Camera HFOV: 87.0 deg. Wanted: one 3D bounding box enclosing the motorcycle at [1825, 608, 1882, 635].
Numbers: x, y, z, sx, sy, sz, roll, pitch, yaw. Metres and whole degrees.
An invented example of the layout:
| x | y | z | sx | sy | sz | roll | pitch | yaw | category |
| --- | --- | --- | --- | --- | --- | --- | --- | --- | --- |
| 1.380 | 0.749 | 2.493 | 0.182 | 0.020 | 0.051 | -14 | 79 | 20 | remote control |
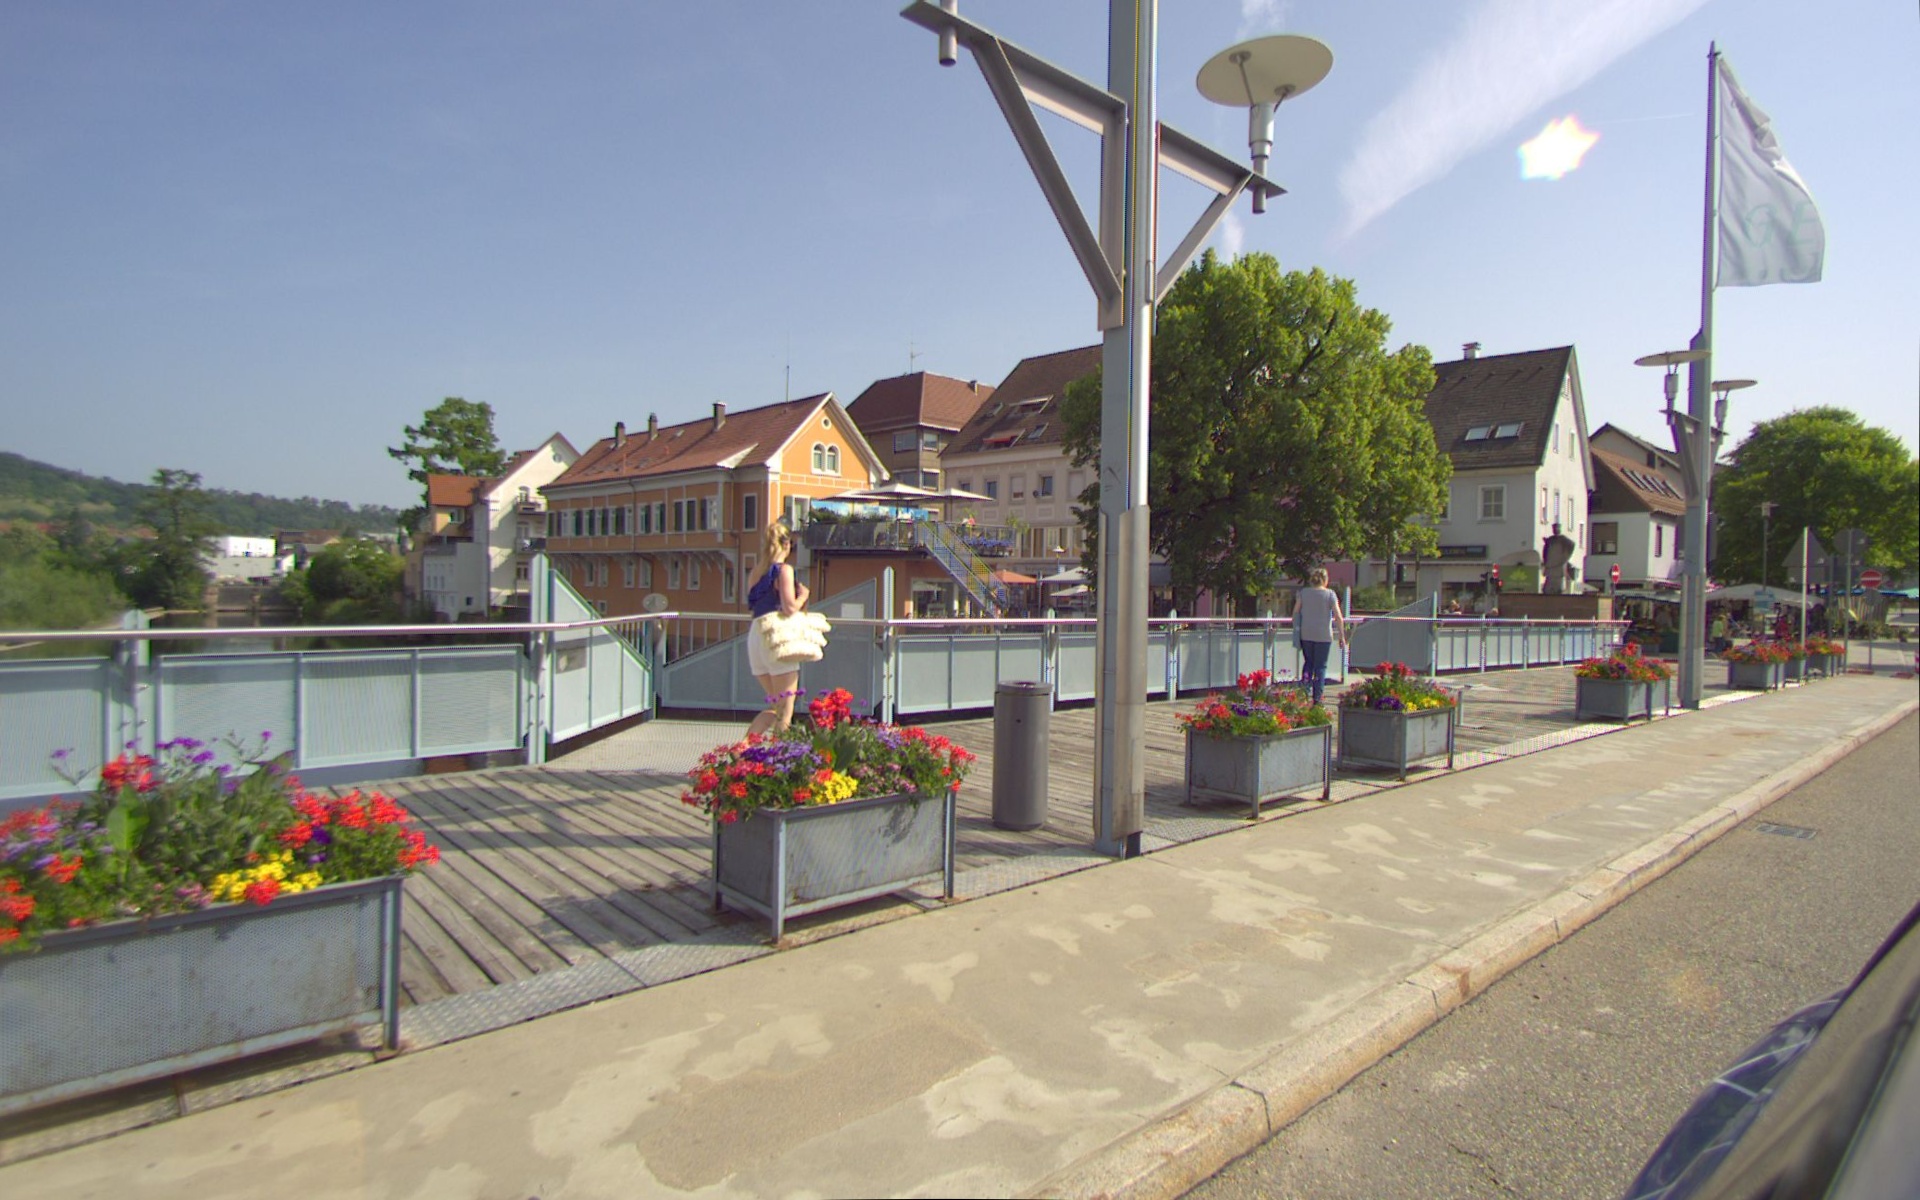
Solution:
| x | y | z | sx | sy | sz | roll | pitch | yaw | category |
| --- | --- | --- | --- | --- | --- | --- | --- | --- | --- |
| 45.142 | 1.067 | 51.141 | 0.630 | 1.210 | 2.009 | 1 | 3 | -29 | motorcycle |

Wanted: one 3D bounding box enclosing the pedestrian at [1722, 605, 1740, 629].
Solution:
| x | y | z | sx | sy | sz | roll | pitch | yaw | category |
| --- | --- | --- | --- | --- | --- | --- | --- | --- | --- |
| 40.607 | 0.870 | 53.290 | 0.640 | 1.215 | 0.571 | 0 | 4 | -42 | pedestrian |

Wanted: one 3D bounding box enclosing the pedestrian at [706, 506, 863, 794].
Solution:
| x | y | z | sx | sy | sz | roll | pitch | yaw | category |
| --- | --- | --- | --- | --- | --- | --- | --- | --- | --- |
| -1.156 | 0.301 | 6.657 | 0.734 | 1.745 | 0.727 | 1 | 0 | -39 | pedestrian |

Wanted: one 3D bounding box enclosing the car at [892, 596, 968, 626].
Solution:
| x | y | z | sx | sy | sz | roll | pitch | yaw | category |
| --- | --- | --- | --- | --- | --- | --- | --- | --- | --- |
| -1.759 | 0.613 | 58.234 | 4.580 | 1.617 | 1.723 | 1 | 1 | 45 | car |

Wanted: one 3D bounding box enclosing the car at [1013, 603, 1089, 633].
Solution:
| x | y | z | sx | sy | sz | roll | pitch | yaw | category |
| --- | --- | --- | --- | --- | --- | --- | --- | --- | --- |
| 4.951 | 0.958 | 55.425 | 1.707 | 1.466 | 3.989 | 1 | 1 | -45 | car |

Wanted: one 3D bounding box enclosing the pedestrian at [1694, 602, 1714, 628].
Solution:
| x | y | z | sx | sy | sz | roll | pitch | yaw | category |
| --- | --- | --- | --- | --- | --- | --- | --- | --- | --- |
| 39.355 | 0.793 | 53.513 | 0.687 | 1.347 | 0.626 | 0 | 3 | -40 | pedestrian |

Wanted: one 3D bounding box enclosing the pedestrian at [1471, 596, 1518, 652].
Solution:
| x | y | z | sx | sy | sz | roll | pitch | yaw | category |
| --- | --- | --- | --- | --- | --- | --- | --- | --- | --- |
| 18.183 | 0.804 | 34.424 | 0.888 | 1.838 | 1.023 | 3 | -1 | -12 | pedestrian |

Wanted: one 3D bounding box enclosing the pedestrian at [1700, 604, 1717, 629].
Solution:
| x | y | z | sx | sy | sz | roll | pitch | yaw | category |
| --- | --- | --- | --- | --- | --- | --- | --- | --- | --- |
| 38.549 | 0.849 | 52.122 | 0.640 | 1.215 | 0.571 | 0 | 4 | -42 | pedestrian |

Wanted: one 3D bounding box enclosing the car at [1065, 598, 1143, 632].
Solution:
| x | y | z | sx | sy | sz | roll | pitch | yaw | category |
| --- | --- | --- | --- | --- | --- | --- | --- | --- | --- |
| 7.996 | 0.805 | 56.522 | 4.133 | 1.761 | 1.685 | 1 | 2 | 45 | car |

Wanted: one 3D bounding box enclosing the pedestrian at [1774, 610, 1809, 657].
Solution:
| x | y | z | sx | sy | sz | roll | pitch | yaw | category |
| --- | --- | --- | --- | --- | --- | --- | --- | --- | --- |
| 31.535 | 1.257 | 38.377 | 0.877 | 1.678 | 0.565 | 4 | 3 | 34 | pedestrian |

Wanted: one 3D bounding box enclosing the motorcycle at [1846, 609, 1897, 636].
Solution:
| x | y | z | sx | sy | sz | roll | pitch | yaw | category |
| --- | --- | --- | --- | --- | --- | --- | --- | --- | --- |
| 46.257 | 1.114 | 51.371 | 0.631 | 1.210 | 2.007 | 3 | 3 | -2 | motorcycle |

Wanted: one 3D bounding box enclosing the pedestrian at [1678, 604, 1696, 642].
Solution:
| x | y | z | sx | sy | sz | roll | pitch | yaw | category |
| --- | --- | --- | --- | --- | --- | --- | --- | --- | --- |
| 31.731 | 1.003 | 44.186 | 0.520 | 1.647 | 0.696 | 2 | 0 | 42 | pedestrian |

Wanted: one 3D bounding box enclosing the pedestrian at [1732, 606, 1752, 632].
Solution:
| x | y | z | sx | sy | sz | roll | pitch | yaw | category |
| --- | --- | --- | --- | --- | --- | --- | --- | --- | --- |
| 38.865 | 0.942 | 50.301 | 0.694 | 1.215 | 0.565 | 4 | 3 | 33 | pedestrian |

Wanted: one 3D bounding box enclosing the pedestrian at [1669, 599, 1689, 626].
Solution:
| x | y | z | sx | sy | sz | roll | pitch | yaw | category |
| --- | --- | --- | --- | --- | --- | --- | --- | --- | --- |
| 37.746 | 0.644 | 53.114 | 0.687 | 1.347 | 0.626 | 0 | 3 | -40 | pedestrian |

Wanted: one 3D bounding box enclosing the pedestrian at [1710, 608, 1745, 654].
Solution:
| x | y | z | sx | sy | sz | roll | pitch | yaw | category |
| --- | --- | --- | --- | --- | --- | --- | --- | --- | --- |
| 28.543 | 1.140 | 37.640 | 0.843 | 1.652 | 0.788 | -2 | 2 | -34 | pedestrian |

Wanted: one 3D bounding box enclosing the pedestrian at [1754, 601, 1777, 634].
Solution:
| x | y | z | sx | sy | sz | roll | pitch | yaw | category |
| --- | --- | --- | --- | --- | --- | --- | --- | --- | --- |
| 39.964 | 0.879 | 50.220 | 0.561 | 1.572 | 0.699 | 0 | 3 | -37 | pedestrian |

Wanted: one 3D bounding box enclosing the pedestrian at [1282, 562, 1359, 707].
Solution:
| x | y | z | sx | sy | sz | roll | pitch | yaw | category |
| --- | --- | --- | --- | --- | --- | --- | --- | --- | --- |
| 4.210 | 0.383 | 11.824 | 0.665 | 1.639 | 0.554 | 1 | 0 | 42 | pedestrian |

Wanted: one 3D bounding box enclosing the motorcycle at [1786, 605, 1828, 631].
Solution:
| x | y | z | sx | sy | sz | roll | pitch | yaw | category |
| --- | --- | --- | --- | --- | --- | --- | --- | --- | --- |
| 44.261 | 0.949 | 52.893 | 0.633 | 1.210 | 1.530 | 0 | 4 | -43 | motorcycle |

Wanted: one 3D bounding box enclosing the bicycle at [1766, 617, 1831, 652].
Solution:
| x | y | z | sx | sy | sz | roll | pitch | yaw | category |
| --- | --- | --- | --- | --- | --- | --- | --- | --- | --- |
| 32.475 | 1.316 | 39.217 | 1.850 | 1.250 | 0.610 | 1 | 0 | 34 | bicycle |

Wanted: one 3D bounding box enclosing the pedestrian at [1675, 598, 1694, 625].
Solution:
| x | y | z | sx | sy | sz | roll | pitch | yaw | category |
| --- | --- | --- | --- | --- | --- | --- | --- | --- | --- |
| 38.437 | 0.613 | 53.703 | 0.687 | 1.347 | 0.626 | 0 | 3 | -40 | pedestrian |

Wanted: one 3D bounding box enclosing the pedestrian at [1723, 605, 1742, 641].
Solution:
| x | y | z | sx | sy | sz | roll | pitch | yaw | category |
| --- | --- | --- | --- | --- | --- | --- | --- | --- | --- |
| 33.852 | 0.986 | 44.347 | 0.618 | 1.537 | 0.625 | 2 | 0 | 37 | pedestrian |

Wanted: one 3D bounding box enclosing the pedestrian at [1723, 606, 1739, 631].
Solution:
| x | y | z | sx | sy | sz | roll | pitch | yaw | category |
| --- | --- | --- | --- | --- | --- | --- | --- | --- | --- |
| 39.057 | 0.931 | 51.251 | 0.569 | 1.215 | 0.642 | 4 | 3 | 36 | pedestrian |

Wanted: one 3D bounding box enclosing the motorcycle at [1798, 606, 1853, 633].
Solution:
| x | y | z | sx | sy | sz | roll | pitch | yaw | category |
| --- | --- | --- | --- | --- | --- | --- | --- | --- | --- |
| 44.069 | 0.999 | 51.551 | 0.630 | 1.210 | 2.009 | 0 | 4 | -29 | motorcycle |

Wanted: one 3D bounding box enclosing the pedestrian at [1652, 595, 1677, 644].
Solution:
| x | y | z | sx | sy | sz | roll | pitch | yaw | category |
| --- | --- | --- | --- | --- | --- | --- | --- | --- | --- |
| 29.298 | 0.810 | 42.109 | 0.700 | 2.010 | 0.647 | 1 | 0 | 26 | pedestrian |
